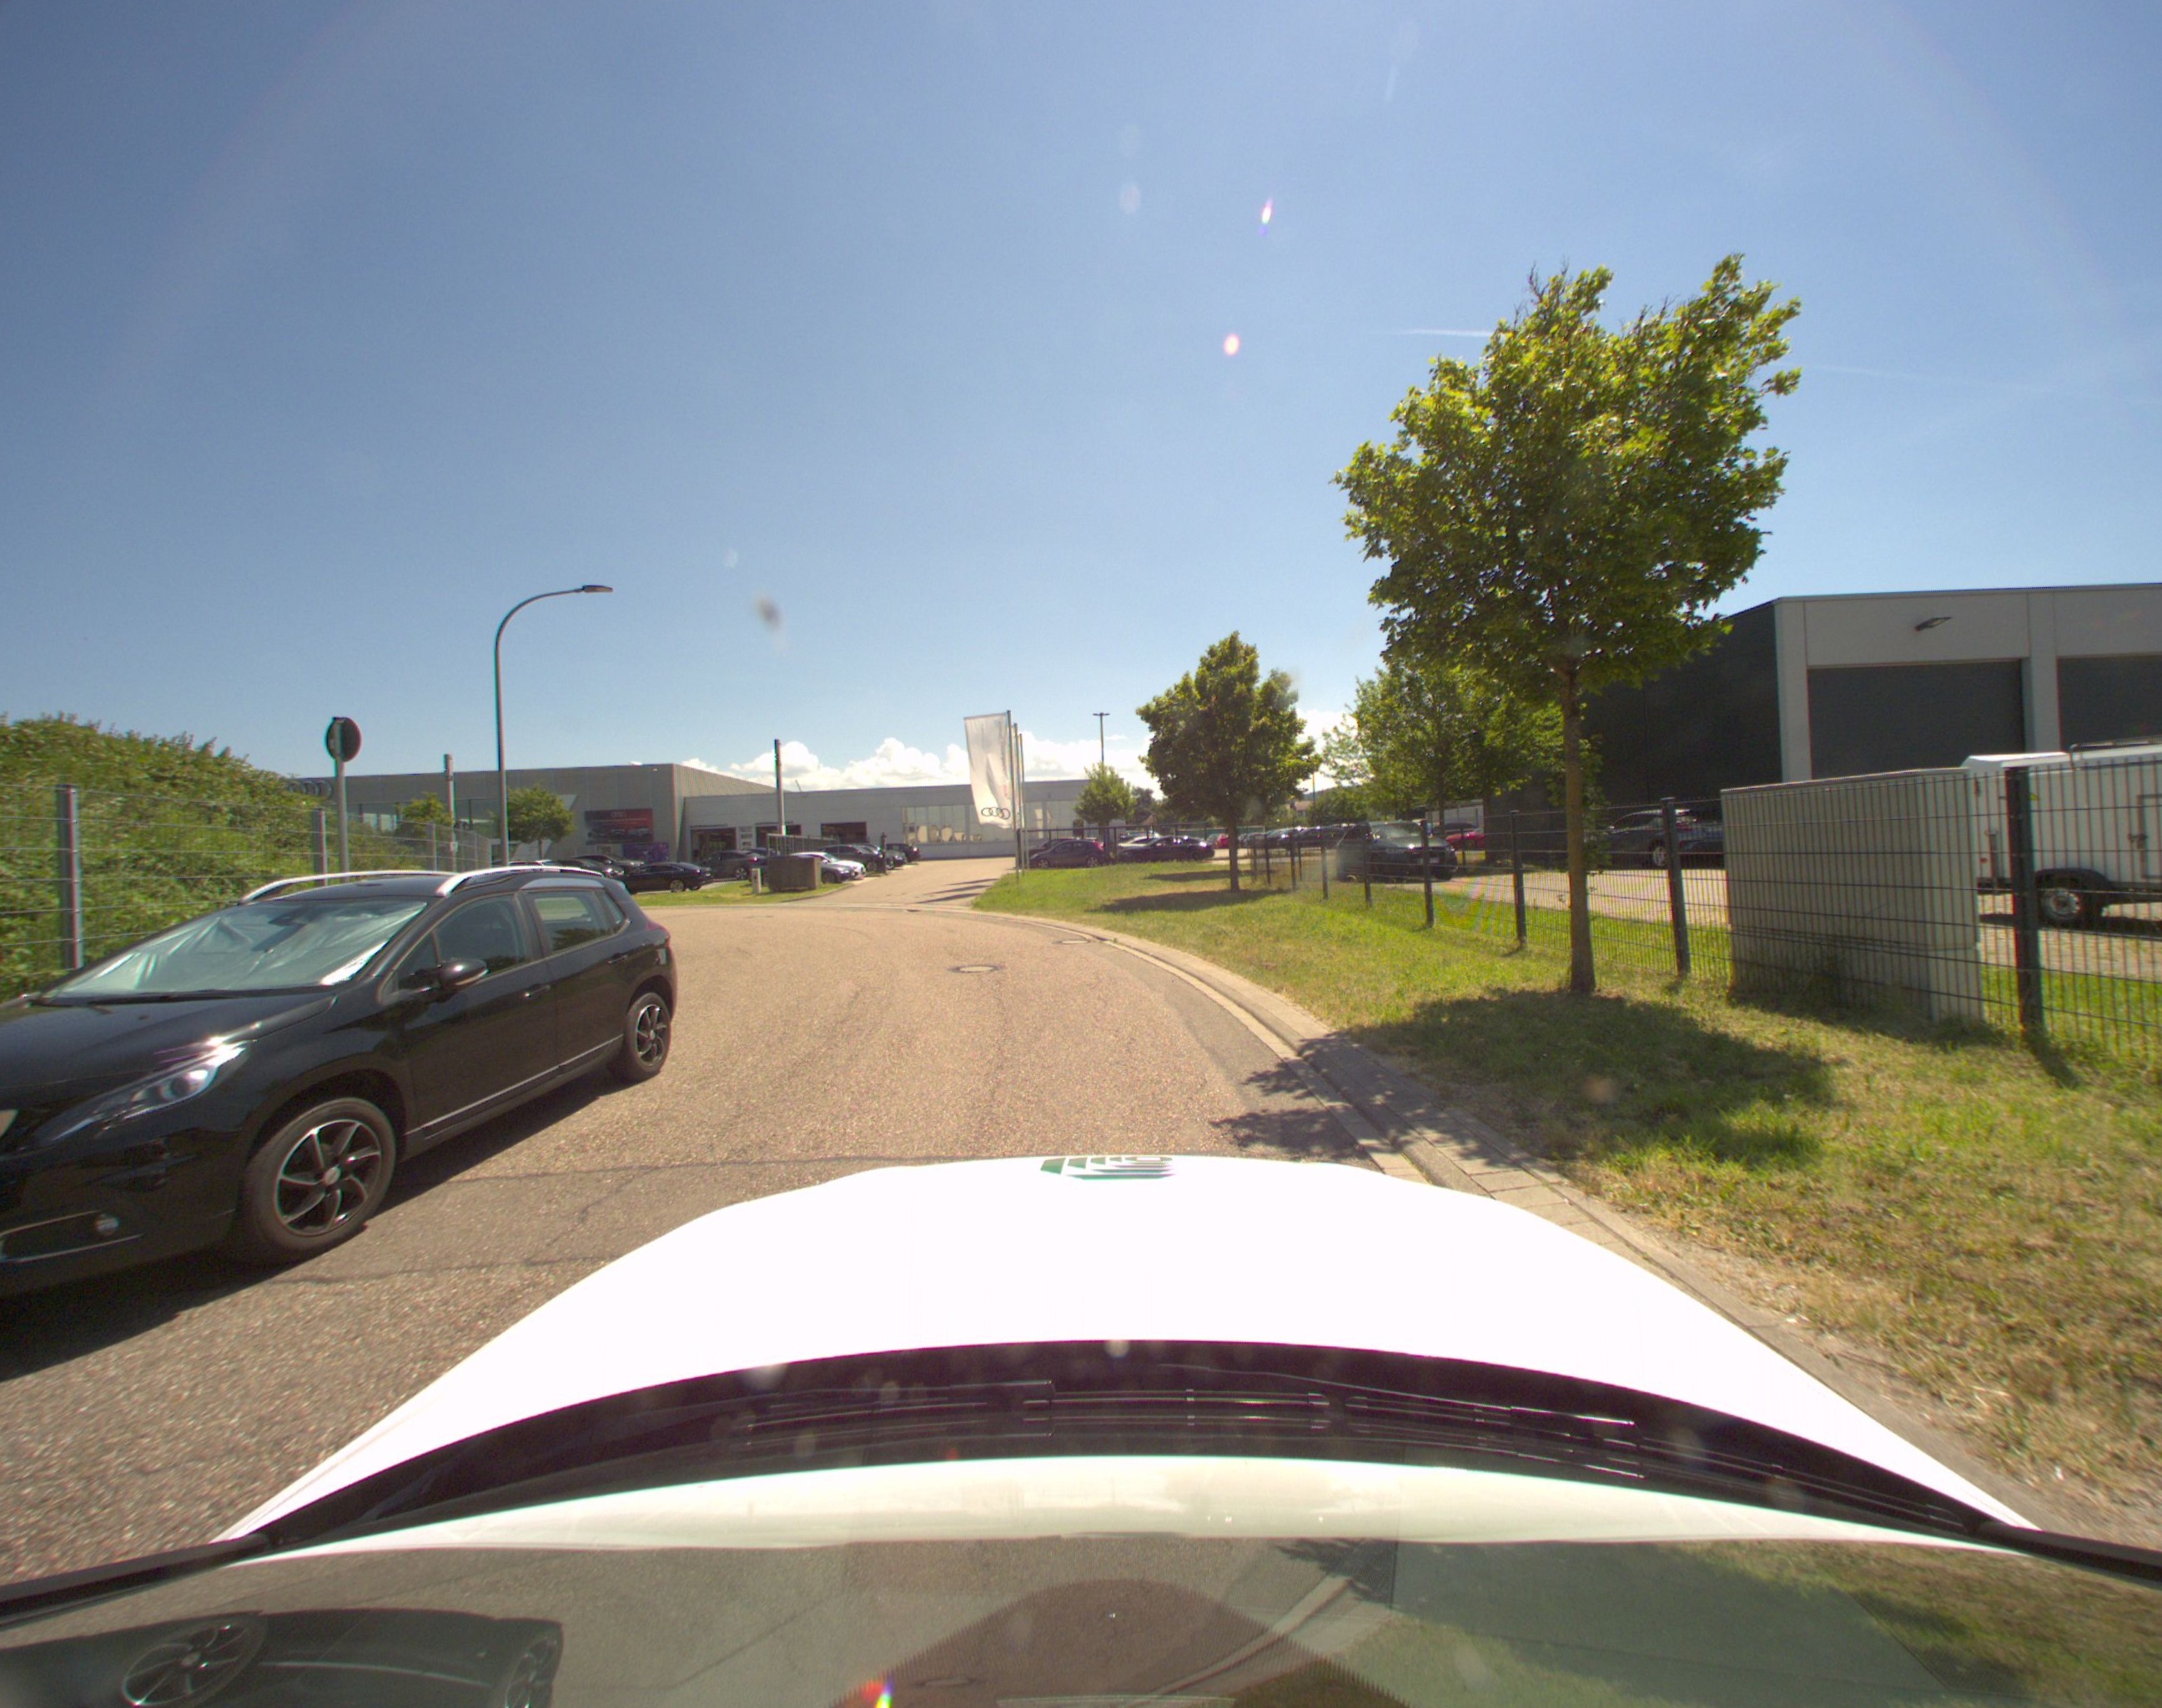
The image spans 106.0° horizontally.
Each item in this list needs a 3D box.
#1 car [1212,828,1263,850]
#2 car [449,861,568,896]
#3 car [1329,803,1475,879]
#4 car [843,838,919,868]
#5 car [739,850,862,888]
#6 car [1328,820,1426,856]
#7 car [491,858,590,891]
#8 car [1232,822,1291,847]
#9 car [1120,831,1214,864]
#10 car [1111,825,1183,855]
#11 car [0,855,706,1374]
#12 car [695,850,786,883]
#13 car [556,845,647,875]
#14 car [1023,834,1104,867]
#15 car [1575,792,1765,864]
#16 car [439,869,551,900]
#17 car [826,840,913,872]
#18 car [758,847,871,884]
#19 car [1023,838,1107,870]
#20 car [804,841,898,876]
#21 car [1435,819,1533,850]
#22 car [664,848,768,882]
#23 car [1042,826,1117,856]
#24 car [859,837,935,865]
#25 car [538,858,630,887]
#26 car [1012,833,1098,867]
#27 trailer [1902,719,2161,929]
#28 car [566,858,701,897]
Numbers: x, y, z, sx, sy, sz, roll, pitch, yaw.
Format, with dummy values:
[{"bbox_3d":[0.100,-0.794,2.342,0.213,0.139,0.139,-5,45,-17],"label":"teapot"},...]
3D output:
[{"bbox_3d":[13.856,-1.335,72.383,3.983,1.688,1.996,-3,0,-7],"label":"car"},{"bbox_3d":[-31.456,1.312,44.877,4.977,1.553,1.966,-3,2,-3],"label":"car"},{"bbox_3d":[7.845,-0.248,20.379,1.770,1.601,4.279,-3,-1,-2],"label":"car"},{"bbox_3d":[-12.685,-0.090,51.858,4.353,1.629,1.966,-3,2,-3],"label":"car"},{"bbox_3d":[-12.914,0.668,37.761,4.917,1.467,1.966,-3,2,-3],"label":"car"},{"bbox_3d":[15.146,-0.828,41.816,4.377,1.566,1.780,-3,1,0],"label":"car"},{"bbox_3d":[-31.457,1.183,47.503,4.264,1.613,1.966,-3,2,-3],"label":"car"},{"bbox_3d":[14.117,-1.539,63.801,3.983,1.688,1.996,-3,0,-7],"label":"car"},{"bbox_3d":[4.328,-0.364,41.301,4.542,1.401,1.781,-3,1,1],"label":"car"},{"bbox_3d":[4.029,-0.860,50.360,4.190,1.630,1.794,-3,0,-3],"label":"car"},{"bbox_3d":[-3.896,0.843,4.554,1.649,1.555,4.131,-3,0,-1],"label":"car"},{"bbox_3d":[-19.621,0.703,47.093,4.392,1.694,1.828,-3,0,-3],"label":"car"},{"bbox_3d":[-31.650,0.383,53.864,4.702,1.739,1.966,-3,2,-3],"label":"car"},{"bbox_3d":[-1.034,-0.223,47.831,4.600,1.629,1.966,-3,2,-3],"label":"car"},{"bbox_3d":[15.132,-0.584,21.255,1.770,1.567,4.169,-3,-1,-2],"label":"car"},{"bbox_3d":[-30.389,1.561,42.345,4.287,1.374,1.966,-2,2,-3],"label":"car"},{"bbox_3d":[-12.546,0.091,48.471,4.600,1.629,1.966,-3,2,-3],"label":"car"},{"bbox_3d":[-13.212,0.553,40.588,4.917,1.528,1.824,-3,2,-3],"label":"car"},{"bbox_3d":[-0.781,-0.016,41.339,4.118,1.349,1.780,-3,1,0],"label":"car"},{"bbox_3d":[-12.780,0.235,45.466,4.600,1.629,1.966,-3,2,-3],"label":"car"},{"bbox_3d":[20.775,-0.993,42.063,4.145,1.357,1.780,-3,1,0],"label":"car"},{"bbox_3d":[-19.922,0.580,44.594,4.759,1.643,1.828,-3,0,-3],"label":"car"},{"bbox_3d":[-0.124,-0.813,51.980,4.600,1.630,1.966,-3,0,-3],"label":"car"},{"bbox_3d":[-12.368,-0.222,54.871,4.600,1.629,1.966,-3,2,-3],"label":"car"},{"bbox_3d":[-30.554,1.123,50.178,4.348,1.476,1.966,-3,2,-3],"label":"car"},{"bbox_3d":[-1.459,-0.267,45.194,4.600,1.629,1.966,-3,2,-3],"label":"car"},{"bbox_3d":[11.212,-0.328,8.347,1.843,1.998,3.739,-2,1,0],"label":"trailer"},{"bbox_3d":[-20.440,1.063,37.368,4.995,1.454,1.884,-3,2,-3],"label":"car"}]
